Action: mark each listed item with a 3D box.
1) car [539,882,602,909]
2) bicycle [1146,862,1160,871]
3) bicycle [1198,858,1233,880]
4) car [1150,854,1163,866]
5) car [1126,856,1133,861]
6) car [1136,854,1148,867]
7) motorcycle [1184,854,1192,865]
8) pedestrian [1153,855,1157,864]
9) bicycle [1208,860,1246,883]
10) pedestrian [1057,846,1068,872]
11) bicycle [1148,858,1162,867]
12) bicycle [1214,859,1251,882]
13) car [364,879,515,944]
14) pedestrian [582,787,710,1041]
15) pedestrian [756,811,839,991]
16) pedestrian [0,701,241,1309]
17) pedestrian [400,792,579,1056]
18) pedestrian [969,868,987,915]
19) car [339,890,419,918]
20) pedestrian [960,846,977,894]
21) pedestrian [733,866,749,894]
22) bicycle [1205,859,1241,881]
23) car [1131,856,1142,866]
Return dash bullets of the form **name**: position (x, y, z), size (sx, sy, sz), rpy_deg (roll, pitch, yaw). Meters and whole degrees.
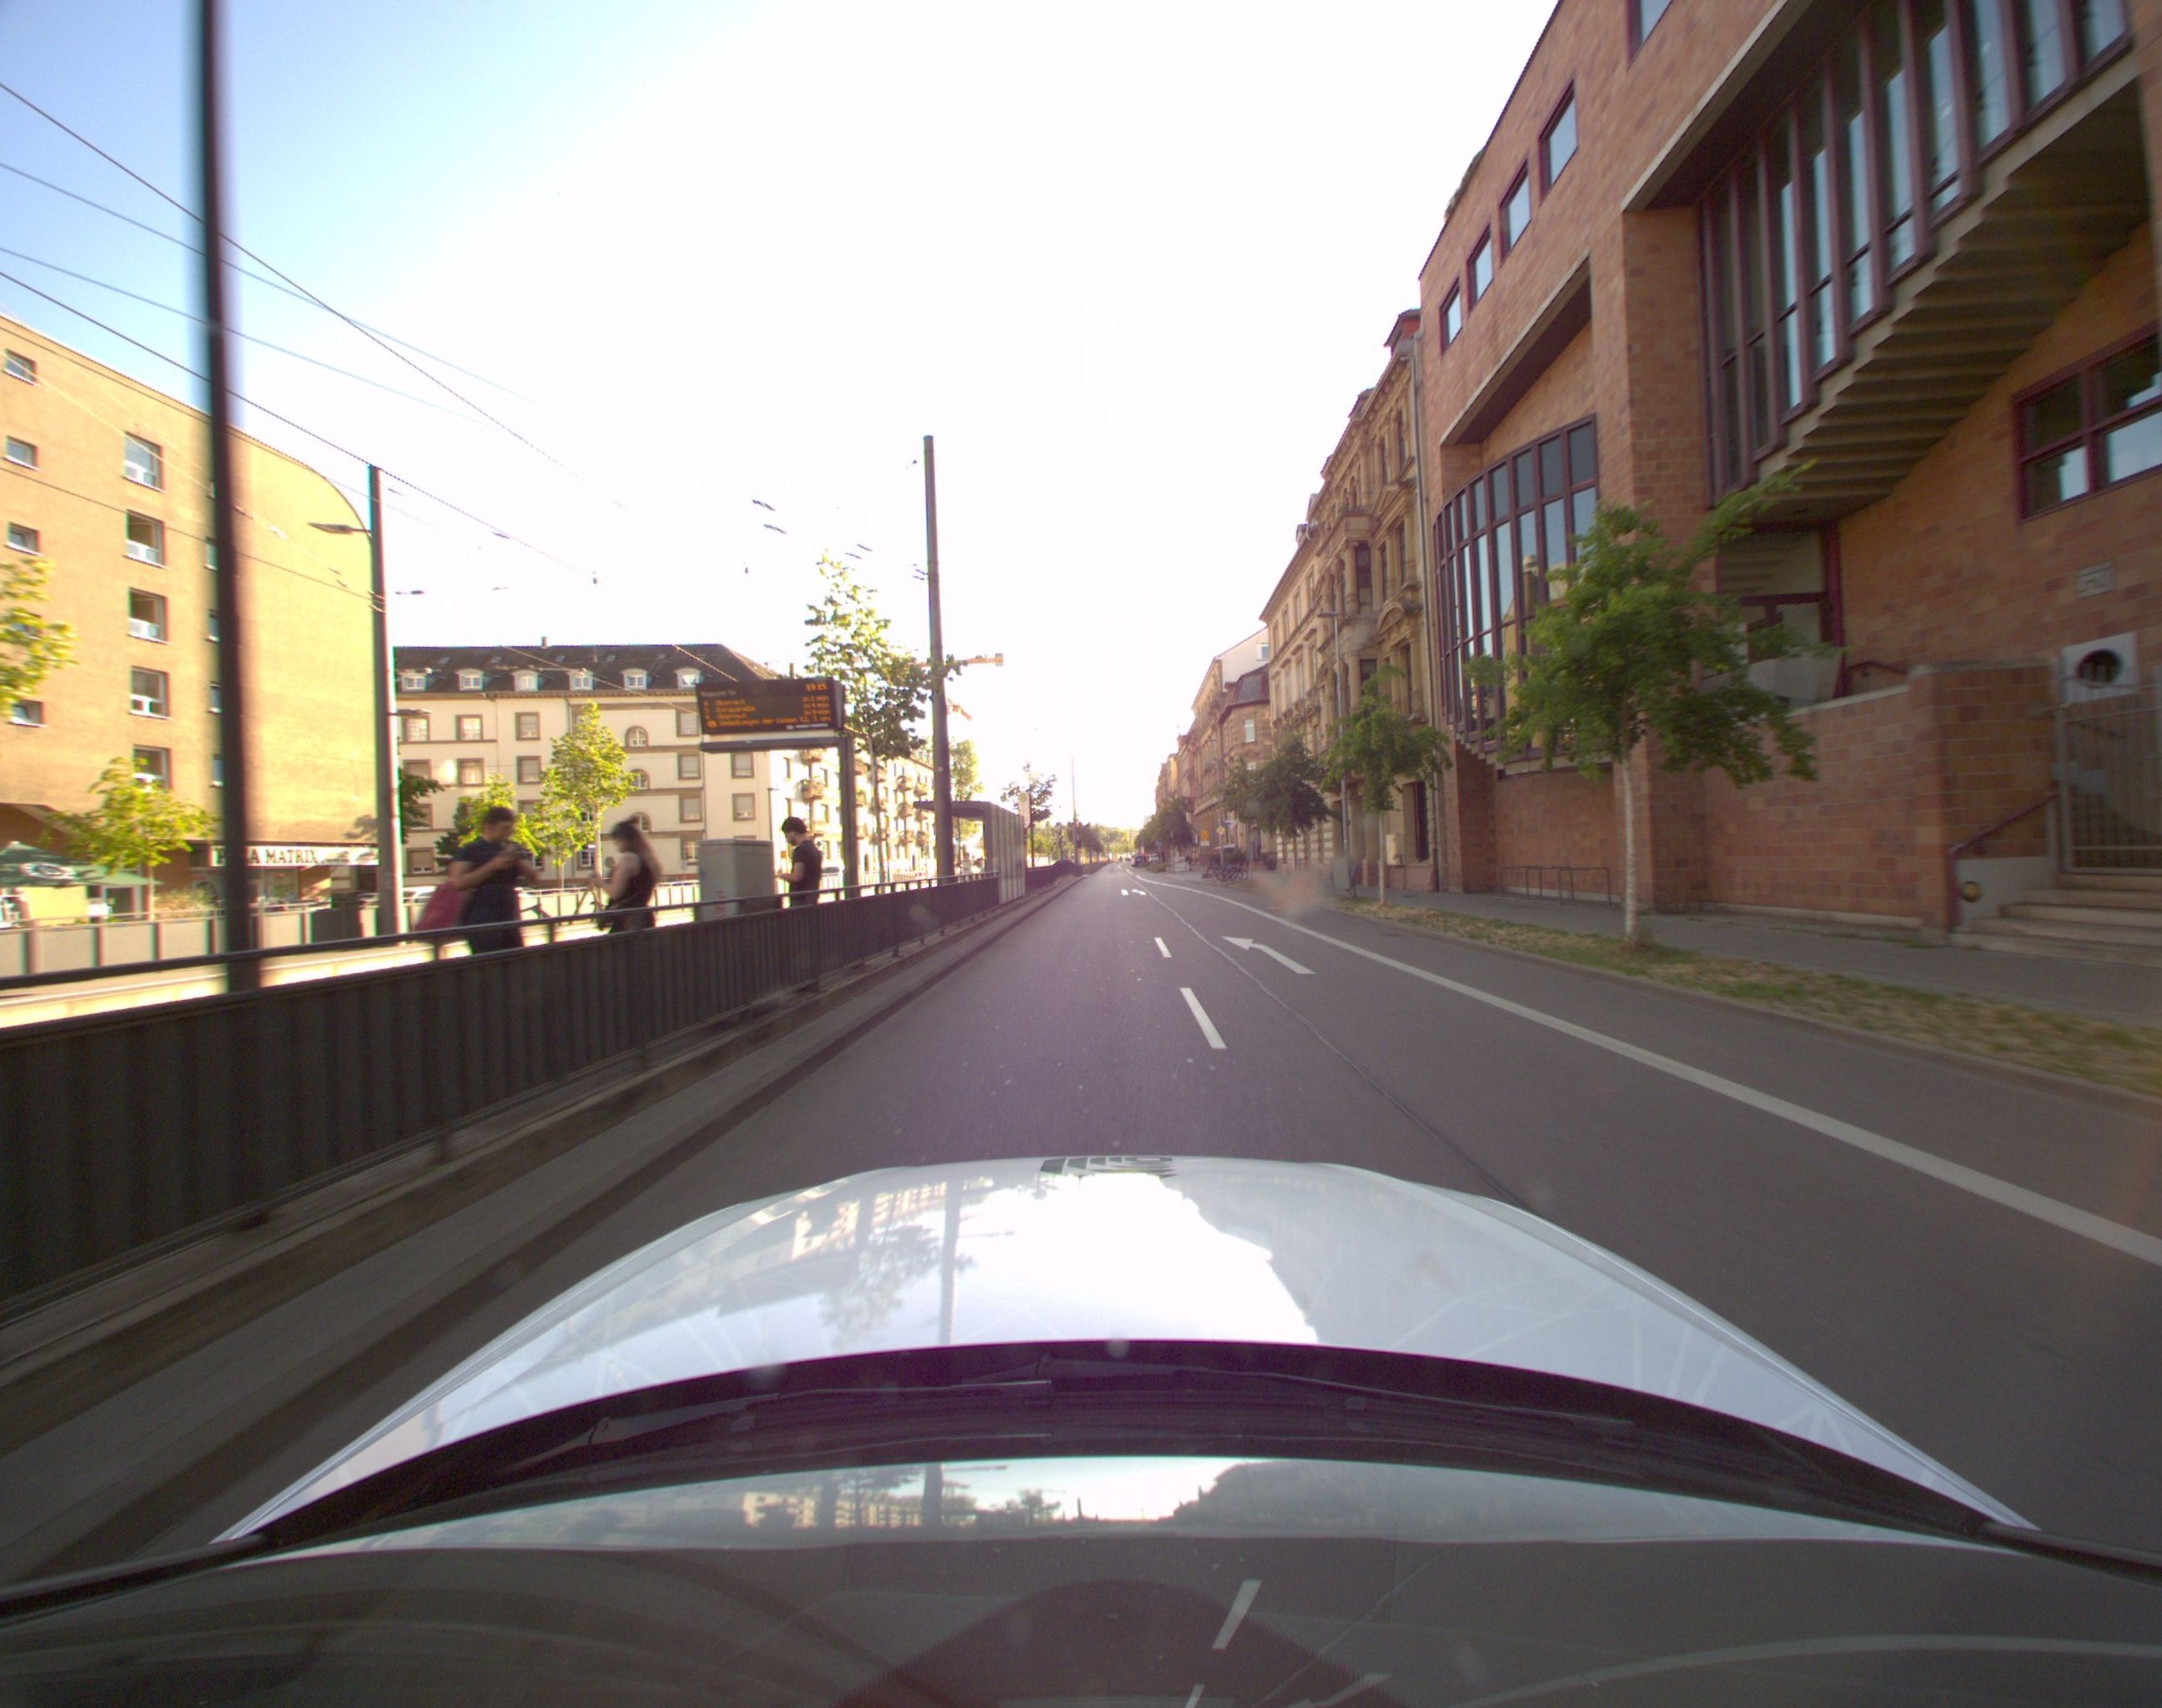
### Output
- **car**: position (-34.275, 2.748, 54.797), size (1.833, 1.501, 3.996), rpy_deg (-3, 1, -3)
- **bicycle**: position (9.562, 1.671, 108.233), size (1.685, 1.048, 0.490), rpy_deg (-6, -1, 2)
- **bicycle**: position (7.877, 0.876, 47.642), size (1.821, 1.064, 0.663), rpy_deg (-5, 0, -3)
- **car**: position (10.465, 0.850, 113.424), size (1.629, 1.486, 4.217), rpy_deg (-4, 0, 5)
- **car**: position (15.189, 1.393, 255.872), size (1.787, 1.464, 4.010), rpy_deg (-3, 0, 9)
- **car**: position (9.715, 0.963, 130.177), size (1.877, 1.937, 4.478), rpy_deg (-3, 1, 4)
- **motorcycle**: position (14.212, 0.710, 108.320), size (0.792, 1.308, 2.853), rpy_deg (-5, 0, 2)
- **pedestrian**: position (12.160, 0.876, 133.671), size (0.623, 1.460, 0.638), rpy_deg (-2, 0, 2)
- **bicycle**: position (7.796, 0.922, 43.410), size (1.821, 1.064, 0.663), rpy_deg (-5, 0, -3)
- **pedestrian**: position (-1.243, 0.340, 54.493), size (0.652, 1.643, 0.867), rpy_deg (-2, -2, 2)
- **bicycle**: position (9.511, 1.134, 105.030), size (1.689, 1.048, 0.488), rpy_deg (-4, 0, -6)
- **bicycle**: position (8.306, 0.883, 44.768), size (1.821, 1.064, 0.663), rpy_deg (-5, 0, -3)
- **car**: position (-24.013, 2.095, 30.708), size (1.982, 2.013, 4.157), rpy_deg (-3, 1, 8)
- **pedestrian**: position (-3.157, 0.417, 5.954), size (0.503, 1.732, 0.652), rpy_deg (-3, -1, 2)
- **pedestrian**: position (-2.776, 0.445, 8.011), size (0.503, 1.679, 0.652), rpy_deg (-3, -1, 2)
- **pedestrian**: position (-3.124, 0.397, 2.218), size (0.670, 1.562, 0.906), rpy_deg (-3, -1, 2)
- **pedestrian**: position (-4.149, 0.467, 5.757), size (0.717, 1.732, 0.652), rpy_deg (-3, -1, 1)
- **pedestrian**: position (-2.659, 0.964, 21.058), size (0.406, 1.190, 0.428), rpy_deg (-2, -1, -10)
- **car**: position (-46.223, 3.254, 53.744), size (1.833, 1.501, 3.996), rpy_deg (-3, 1, -3)
- **pedestrian**: position (-3.346, 0.463, 24.167), size (0.428, 1.385, 0.406), rpy_deg (-2, -1, -10)
- **pedestrian**: position (-24.835, 1.910, 59.523), size (0.797, 2.013, 0.626), rpy_deg (-3, 0, 2)
- **bicycle**: position (8.037, 0.883, 46.162), size (1.821, 1.064, 0.663), rpy_deg (-5, 0, -3)
- **car**: position (9.767, 1.216, 143.400), size (1.841, 1.457, 4.161), rpy_deg (-3, 1, 4)
